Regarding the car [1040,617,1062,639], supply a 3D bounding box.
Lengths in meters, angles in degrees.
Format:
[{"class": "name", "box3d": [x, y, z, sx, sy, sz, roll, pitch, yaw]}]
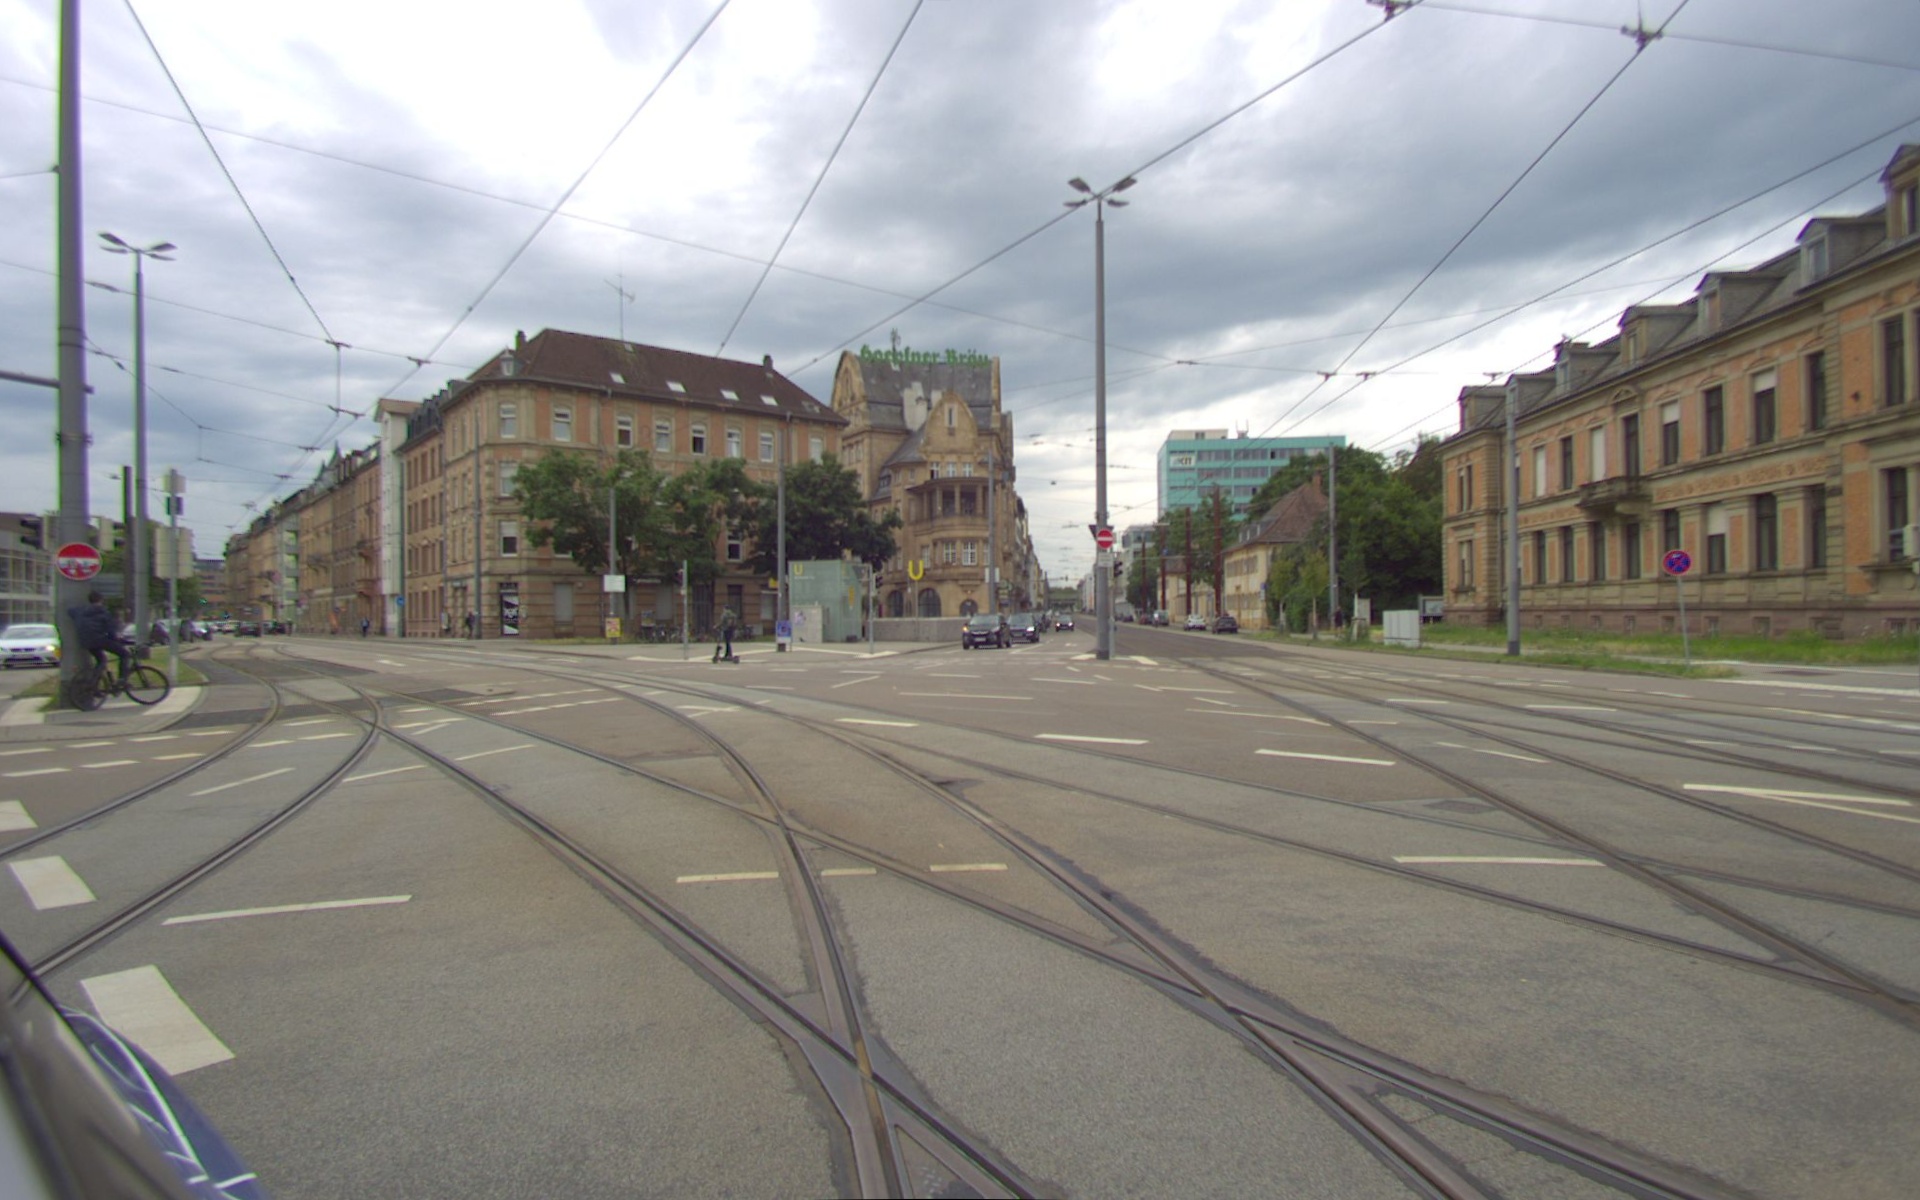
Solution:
[{"class": "car", "box3d": [7.725, 2.336, 85.606, 1.810, 1.773, 3.994, -1, -1, 6]}]

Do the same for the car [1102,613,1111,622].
[{"class": "car", "box3d": [35.029, 4.222, 242.015, 1.975, 2.029, 3.993, -1, -1, 5]}]

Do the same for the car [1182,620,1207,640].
[{"class": "car", "box3d": [22.499, 2.853, 97.123, 1.977, 1.863, 3.990, -1, -2, 8]}]

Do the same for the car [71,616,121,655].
[{"class": "car", "box3d": [-48.169, 1.963, 56.495, 1.968, 2.029, 4.007, 0, -1, -39]}]

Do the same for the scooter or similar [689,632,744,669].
[{"class": "scooter or similar", "box3d": [-7.978, 1.652, 33.115, 1.899, 1.174, 0.568, -2, -1, 31]}]

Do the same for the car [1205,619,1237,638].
[{"class": "car", "box3d": [20.769, 2.239, 80.540, 1.977, 1.442, 3.990, -1, -1, 8]}]

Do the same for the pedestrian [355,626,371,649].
[{"class": "pedestrian", "box3d": [-48.245, 3.024, 81.812, 0.714, 1.846, 0.915, -2, -2, 15]}]

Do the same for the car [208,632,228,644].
[{"class": "car", "box3d": [-96.272, 4.940, 131.320, 1.788, 1.442, 4.023, 0, -1, -41]}]

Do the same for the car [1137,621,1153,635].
[{"class": "car", "box3d": [26.149, 3.966, 143.006, 1.977, 1.863, 3.990, -1, -1, 8]}]

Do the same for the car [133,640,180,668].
[{"class": "car", "box3d": [-55.159, 3.665, 69.590, 2.335, 1.768, 5.141, 0, -1, -36]}]

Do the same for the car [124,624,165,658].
[{"class": "car", "box3d": [-51.487, 2.560, 63.911, 1.968, 2.029, 4.007, 0, -1, -39]}]

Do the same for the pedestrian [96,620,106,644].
[{"class": "pedestrian", "box3d": [-71.870, 2.681, 84.672, 0.642, 1.930, 0.603, 0, -1, -40]}]

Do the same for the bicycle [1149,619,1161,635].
[{"class": "bicycle", "box3d": [22.053, 3.090, 114.429, 1.073, 1.763, 3.078, -1, -1, 8]}]

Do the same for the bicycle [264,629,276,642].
[{"class": "bicycle", "box3d": [-71.550, 3.633, 104.930, 0.786, 1.302, 2.415, 0, -2, -39]}]

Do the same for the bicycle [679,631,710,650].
[{"class": "bicycle", "box3d": [-14.807, 2.233, 56.451, 0.743, 1.038, 2.401, 0, -1, -39]}]

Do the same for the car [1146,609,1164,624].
[{"class": "car", "box3d": [24.749, 2.048, 128.356, 1.977, 1.863, 3.990, -1, -1, 8]}]

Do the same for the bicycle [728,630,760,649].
[{"class": "bicycle", "box3d": [-12.488, 2.277, 58.406, 0.743, 1.038, 2.401, 0, -1, -39]}]

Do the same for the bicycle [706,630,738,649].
[{"class": "bicycle", "box3d": [-13.502, 2.207, 57.384, 0.743, 1.038, 2.401, 0, -1, -39]}]

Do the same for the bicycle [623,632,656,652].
[{"class": "bicycle", "box3d": [-17.296, 2.272, 54.602, 0.824, 1.038, 2.401, 0, -1, -39]}]

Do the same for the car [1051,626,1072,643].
[{"class": "car", "box3d": [9.519, 3.201, 95.216, 1.809, 1.477, 3.997, -1, -1, 4]}]

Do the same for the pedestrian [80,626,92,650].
[{"class": "pedestrian", "box3d": [-63.502, 2.767, 73.566, 0.653, 1.693, 0.651, 1, -2, -41]}]

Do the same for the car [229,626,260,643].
[{"class": "car", "box3d": [-66.188, 3.158, 93.587, 1.860, 1.481, 4.470, 0, -1, -41]}]

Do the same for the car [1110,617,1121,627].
[{"class": "car", "box3d": [32.212, 4.498, 210.057, 1.975, 2.029, 3.993, -1, -1, 5]}]

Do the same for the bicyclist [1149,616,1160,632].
[{"class": "bicyclist", "box3d": [22.033, 2.665, 114.536, 1.080, 1.796, 1.014, -1, -1, 8]}]

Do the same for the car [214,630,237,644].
[{"class": "car", "box3d": [-86.925, 4.366, 119.730, 1.808, 1.658, 4.236, 0, -1, -41]}]

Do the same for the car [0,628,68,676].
[{"class": "car", "box3d": [-30.928, 1.693, 33.394, 1.942, 1.467, 4.202, 0, -2, -37]}]

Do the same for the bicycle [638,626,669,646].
[{"class": "bicycle", "box3d": [-16.683, 1.940, 55.122, 0.743, 1.038, 2.401, 0, -1, -39]}]

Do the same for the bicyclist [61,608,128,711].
[{"class": "bicyclist", "box3d": [-14.100, 0.957, 16.492, 0.512, 1.651, 0.653, -1, -1, 11]}]

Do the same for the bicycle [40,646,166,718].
[{"class": "bicycle", "box3d": [-14.061, 1.327, 16.653, 0.522, 1.078, 1.608, -1, -1, 11]}]

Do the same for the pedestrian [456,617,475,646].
[{"class": "pedestrian", "box3d": [-29.687, 1.873, 60.723, 0.800, 1.688, 0.799, 0, -2, -43]}]

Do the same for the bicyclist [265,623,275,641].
[{"class": "bicyclist", "box3d": [-71.488, 3.341, 104.829, 0.811, 1.881, 0.925, 0, -2, -39]}]

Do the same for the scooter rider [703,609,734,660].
[{"class": "scooter rider", "box3d": [-7.881, 1.132, 33.069, 0.819, 1.640, 0.563, -2, -1, 32]}]

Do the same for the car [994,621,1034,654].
[{"class": "car", "box3d": [3.061, 2.069, 56.722, 2.135, 1.727, 4.918, -1, -1, 4]}]

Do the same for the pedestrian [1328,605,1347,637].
[{"class": "pedestrian", "box3d": [21.921, 1.220, 58.773, 0.800, 1.846, 0.847, -1, -1, 8]}]

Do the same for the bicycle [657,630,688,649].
[{"class": "bicycle", "box3d": [-15.862, 2.170, 55.880, 0.743, 1.038, 2.401, 0, -1, -39]}]

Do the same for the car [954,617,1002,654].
[{"class": "car", "box3d": [0.871, 1.607, 46.881, 1.974, 1.623, 4.240, -1, -1, 4]}]
